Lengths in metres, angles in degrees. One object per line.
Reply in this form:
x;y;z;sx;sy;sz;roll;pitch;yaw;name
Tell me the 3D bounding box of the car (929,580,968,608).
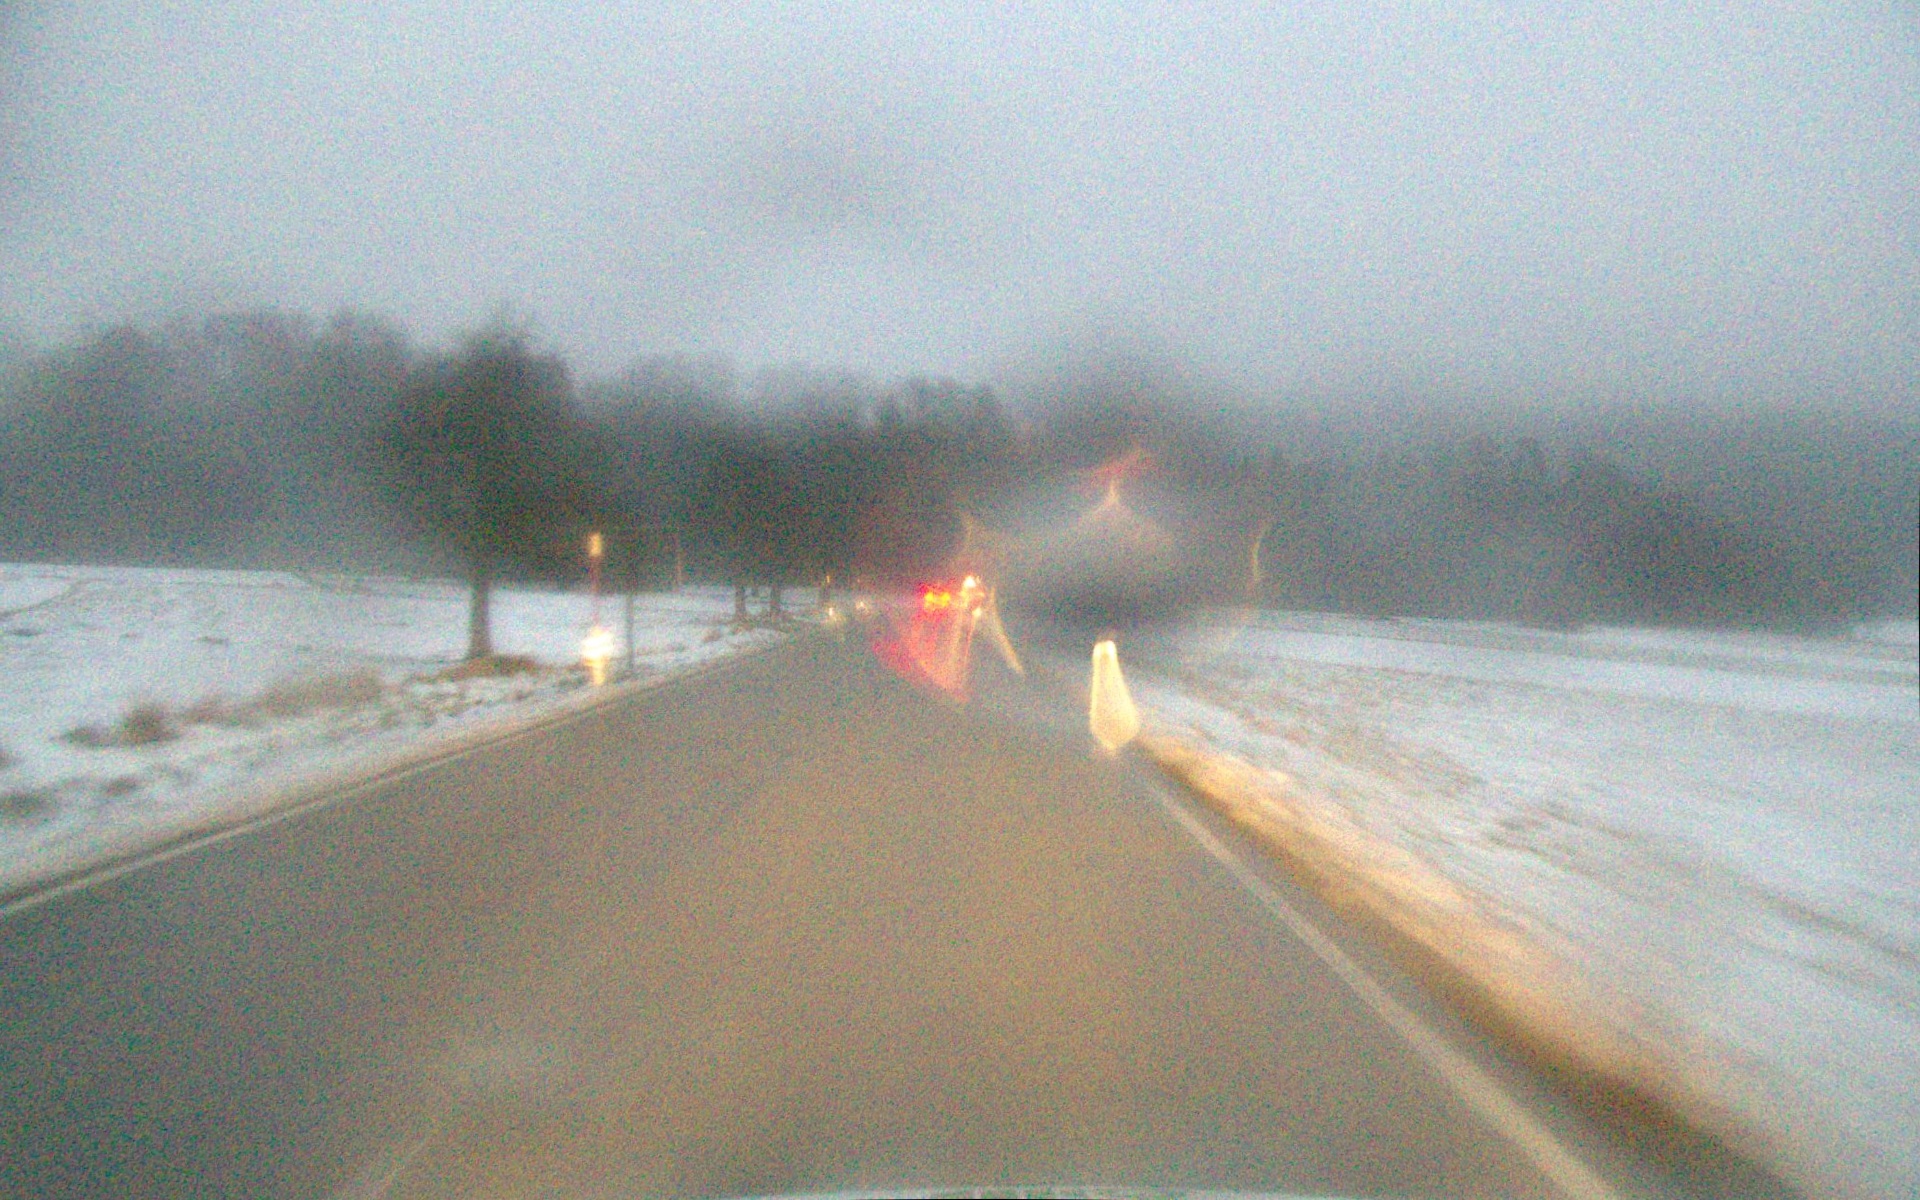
-0.895;-0.438;131.158;1.951;2.087;4.002;2;-1;16;car
